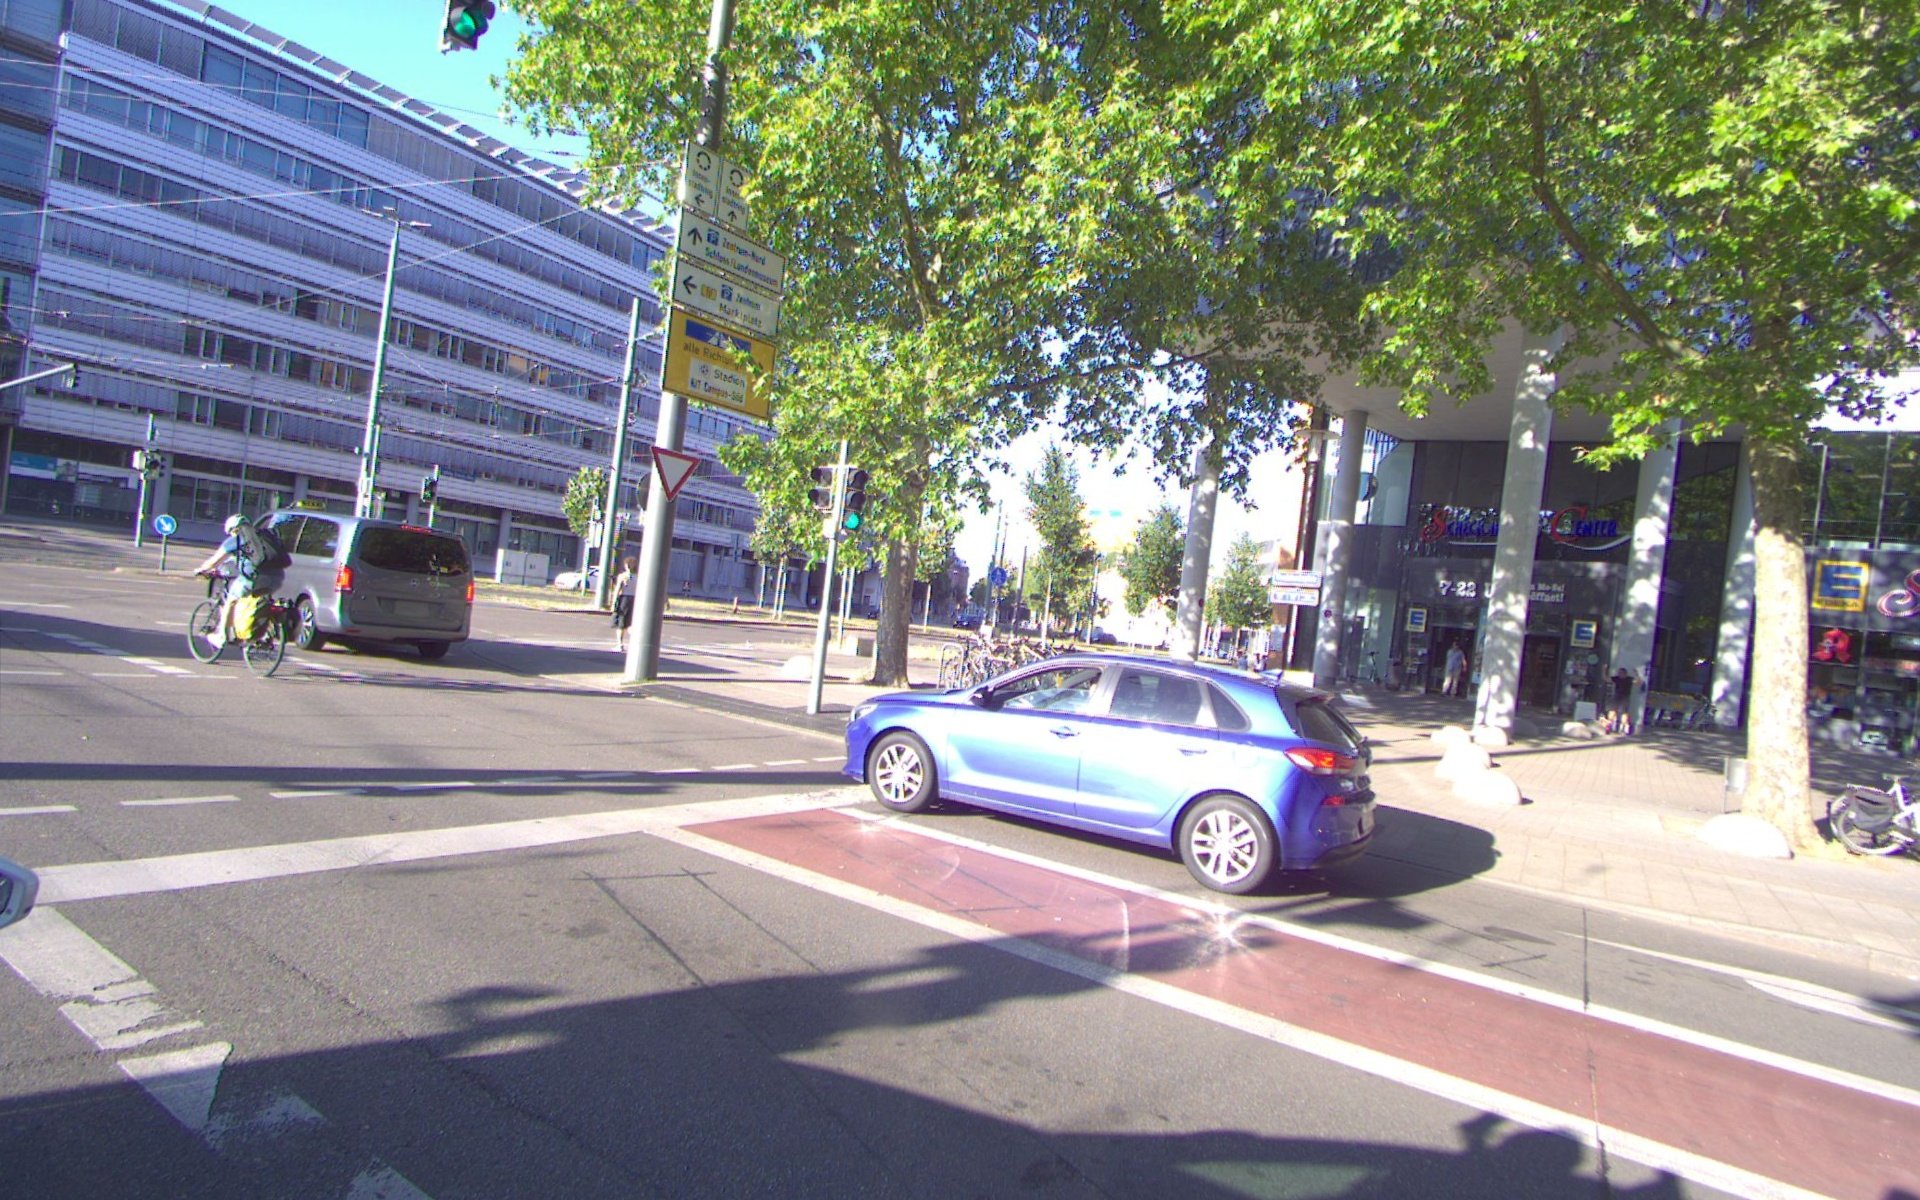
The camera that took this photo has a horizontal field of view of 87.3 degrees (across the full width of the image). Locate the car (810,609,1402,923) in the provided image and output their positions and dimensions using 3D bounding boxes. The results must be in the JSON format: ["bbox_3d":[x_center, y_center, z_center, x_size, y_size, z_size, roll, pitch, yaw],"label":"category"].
[{"bbox_3d":[1.072,1.100,7.935,4.141,1.476,1.751,7,-1,30],"label":"car"}]

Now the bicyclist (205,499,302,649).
[{"bbox_3d":[-7.322,-0.263,10.427,0.605,1.457,0.487,7,0,32],"label":"bicyclist"}]

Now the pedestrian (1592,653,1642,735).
[{"bbox_3d":[17.479,2.493,26.751,0.847,2.037,1.021,6,-1,38],"label":"pedestrian"}]

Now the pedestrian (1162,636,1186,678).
[{"bbox_3d":[8.600,2.304,40.455,0.569,1.612,0.595,7,0,32],"label":"pedestrian"}]

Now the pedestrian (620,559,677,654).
[{"bbox_3d":[-6.169,0.120,19.928,0.680,1.781,0.734,6,1,-38],"label":"pedestrian"}]

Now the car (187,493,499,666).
[{"bbox_3d":[-9.220,-0.350,14.900,4.804,1.919,2.003,7,-1,34],"label":"car"}]

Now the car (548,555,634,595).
[{"bbox_3d":[-20.374,-1.366,55.619,1.852,1.614,3.991,6,-2,35],"label":"car"}]

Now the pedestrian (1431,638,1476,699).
[{"bbox_3d":[16.551,2.277,33.749,0.800,1.913,0.871,5,1,-16],"label":"pedestrian"}]

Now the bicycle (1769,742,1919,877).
[{"bbox_3d":[10.877,2.377,10.428,3.759,1.234,0.756,5,-2,38],"label":"bicycle"}]

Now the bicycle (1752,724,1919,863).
[{"bbox_3d":[11.231,2.394,11.085,3.757,1.235,0.727,10,1,38],"label":"bicycle"}]

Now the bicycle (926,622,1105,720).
[{"bbox_3d":[0.896,1.173,16.965,2.896,1.252,0.705,6,-1,31],"label":"bicycle"}]

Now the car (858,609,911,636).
[{"bbox_3d":[-5.999,1.788,80.288,1.852,1.614,4.121,6,-2,35],"label":"car"}]

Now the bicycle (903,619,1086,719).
[{"bbox_3d":[0.517,1.097,16.347,2.896,1.243,0.686,6,-1,31],"label":"bicycle"}]

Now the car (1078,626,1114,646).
[{"bbox_3d":[14.226,3.740,105.082,1.852,1.614,4.121,6,-2,35],"label":"car"}]

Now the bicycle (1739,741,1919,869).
[{"bbox_3d":[11.573,2.554,11.776,3.758,1.234,0.791,5,-2,36],"label":"bicycle"}]

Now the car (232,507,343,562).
[{"bbox_3d":[-33.588,-3.239,50.319,1.967,2.037,3.995,6,-2,32],"label":"car"}]

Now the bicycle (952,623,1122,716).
[{"bbox_3d":[1.324,1.194,17.802,2.896,1.254,0.704,6,2,31],"label":"bicycle"}]

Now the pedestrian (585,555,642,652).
[{"bbox_3d":[-6.718,0.061,19.485,0.674,1.781,0.734,6,1,-38],"label":"pedestrian"}]

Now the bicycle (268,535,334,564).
[{"bbox_3d":[-30.250,-2.301,46.194,0.627,1.035,2.410,7,0,36],"label":"bicycle"}]

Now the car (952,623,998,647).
[{"bbox_3d":[1.324,3.063,87.975,1.852,1.614,4.121,6,-2,35],"label":"car"}]

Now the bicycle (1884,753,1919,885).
[{"bbox_3d":[10.342,2.234,9.288,2.514,1.234,0.756,5,-2,37],"label":"bicycle"}]

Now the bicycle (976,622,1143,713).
[{"bbox_3d":[1.783,1.213,18.453,2.896,1.250,0.698,6,-4,31],"label":"bicycle"}]

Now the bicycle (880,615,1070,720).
[{"bbox_3d":[0.192,1.023,15.710,2.896,1.252,0.705,6,-1,31],"label":"bicycle"}]

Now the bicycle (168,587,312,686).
[{"bbox_3d":[-7.556,0.365,10.530,1.831,0.797,0.491,7,-1,32],"label":"bicycle"}]
